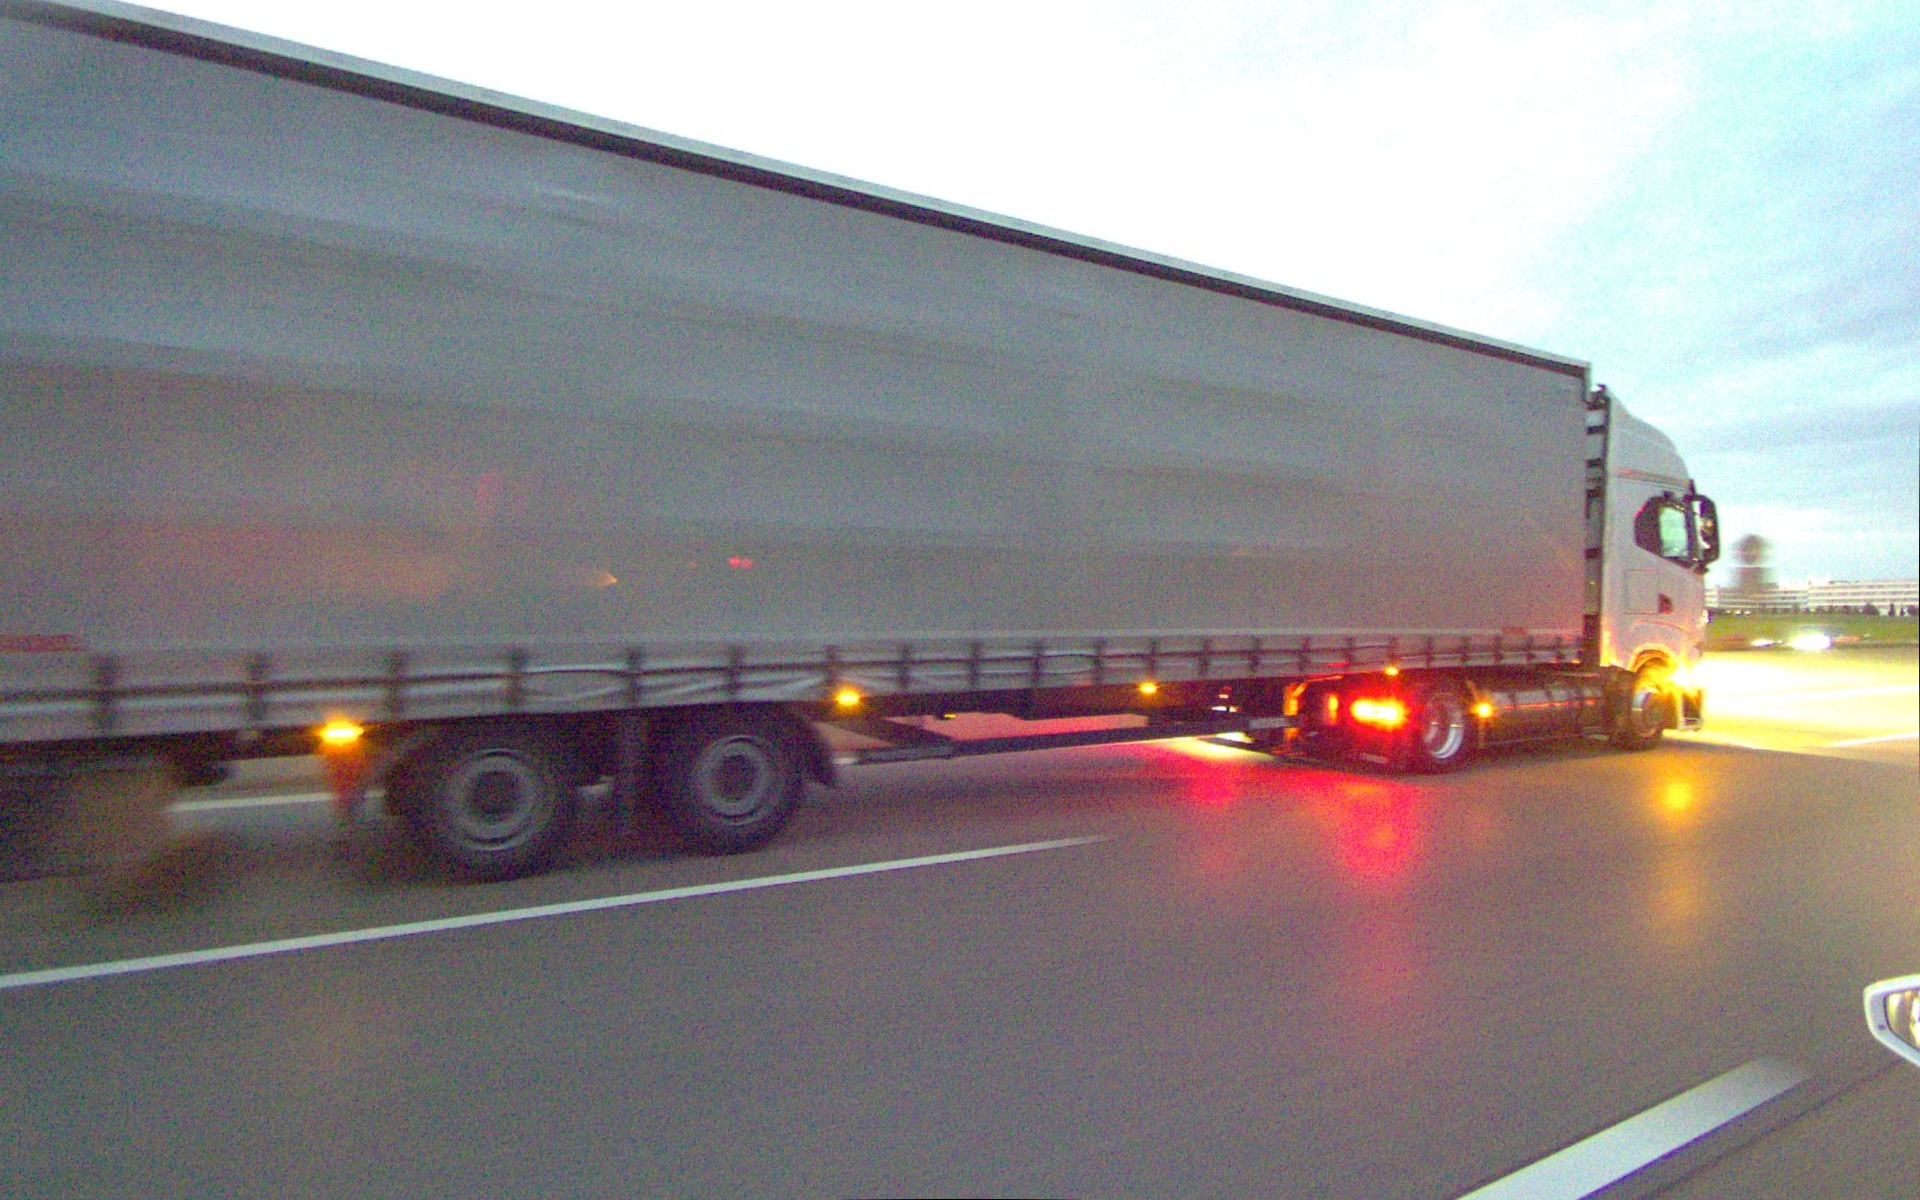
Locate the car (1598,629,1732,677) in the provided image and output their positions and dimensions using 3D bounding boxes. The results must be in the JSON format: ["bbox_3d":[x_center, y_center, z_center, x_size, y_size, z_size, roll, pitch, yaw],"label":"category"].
[{"bbox_3d":[20.524,1.529,29.204,3.953,1.264,1.695,2,0,-30],"label":"car"}]

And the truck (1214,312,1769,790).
[{"bbox_3d":[6.124,-0.324,11.406,6.029,4.146,2.765,2,-1,-29],"label":"truck"}]

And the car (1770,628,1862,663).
[{"bbox_3d":[36.660,1.943,43.005,4.064,1.380,1.735,2,0,-30],"label":"car"}]

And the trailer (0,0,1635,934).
[{"bbox_3d":[-0.041,-0.537,7.893,14.351,4.139,2.782,2,-1,-30],"label":"trailer"}]
